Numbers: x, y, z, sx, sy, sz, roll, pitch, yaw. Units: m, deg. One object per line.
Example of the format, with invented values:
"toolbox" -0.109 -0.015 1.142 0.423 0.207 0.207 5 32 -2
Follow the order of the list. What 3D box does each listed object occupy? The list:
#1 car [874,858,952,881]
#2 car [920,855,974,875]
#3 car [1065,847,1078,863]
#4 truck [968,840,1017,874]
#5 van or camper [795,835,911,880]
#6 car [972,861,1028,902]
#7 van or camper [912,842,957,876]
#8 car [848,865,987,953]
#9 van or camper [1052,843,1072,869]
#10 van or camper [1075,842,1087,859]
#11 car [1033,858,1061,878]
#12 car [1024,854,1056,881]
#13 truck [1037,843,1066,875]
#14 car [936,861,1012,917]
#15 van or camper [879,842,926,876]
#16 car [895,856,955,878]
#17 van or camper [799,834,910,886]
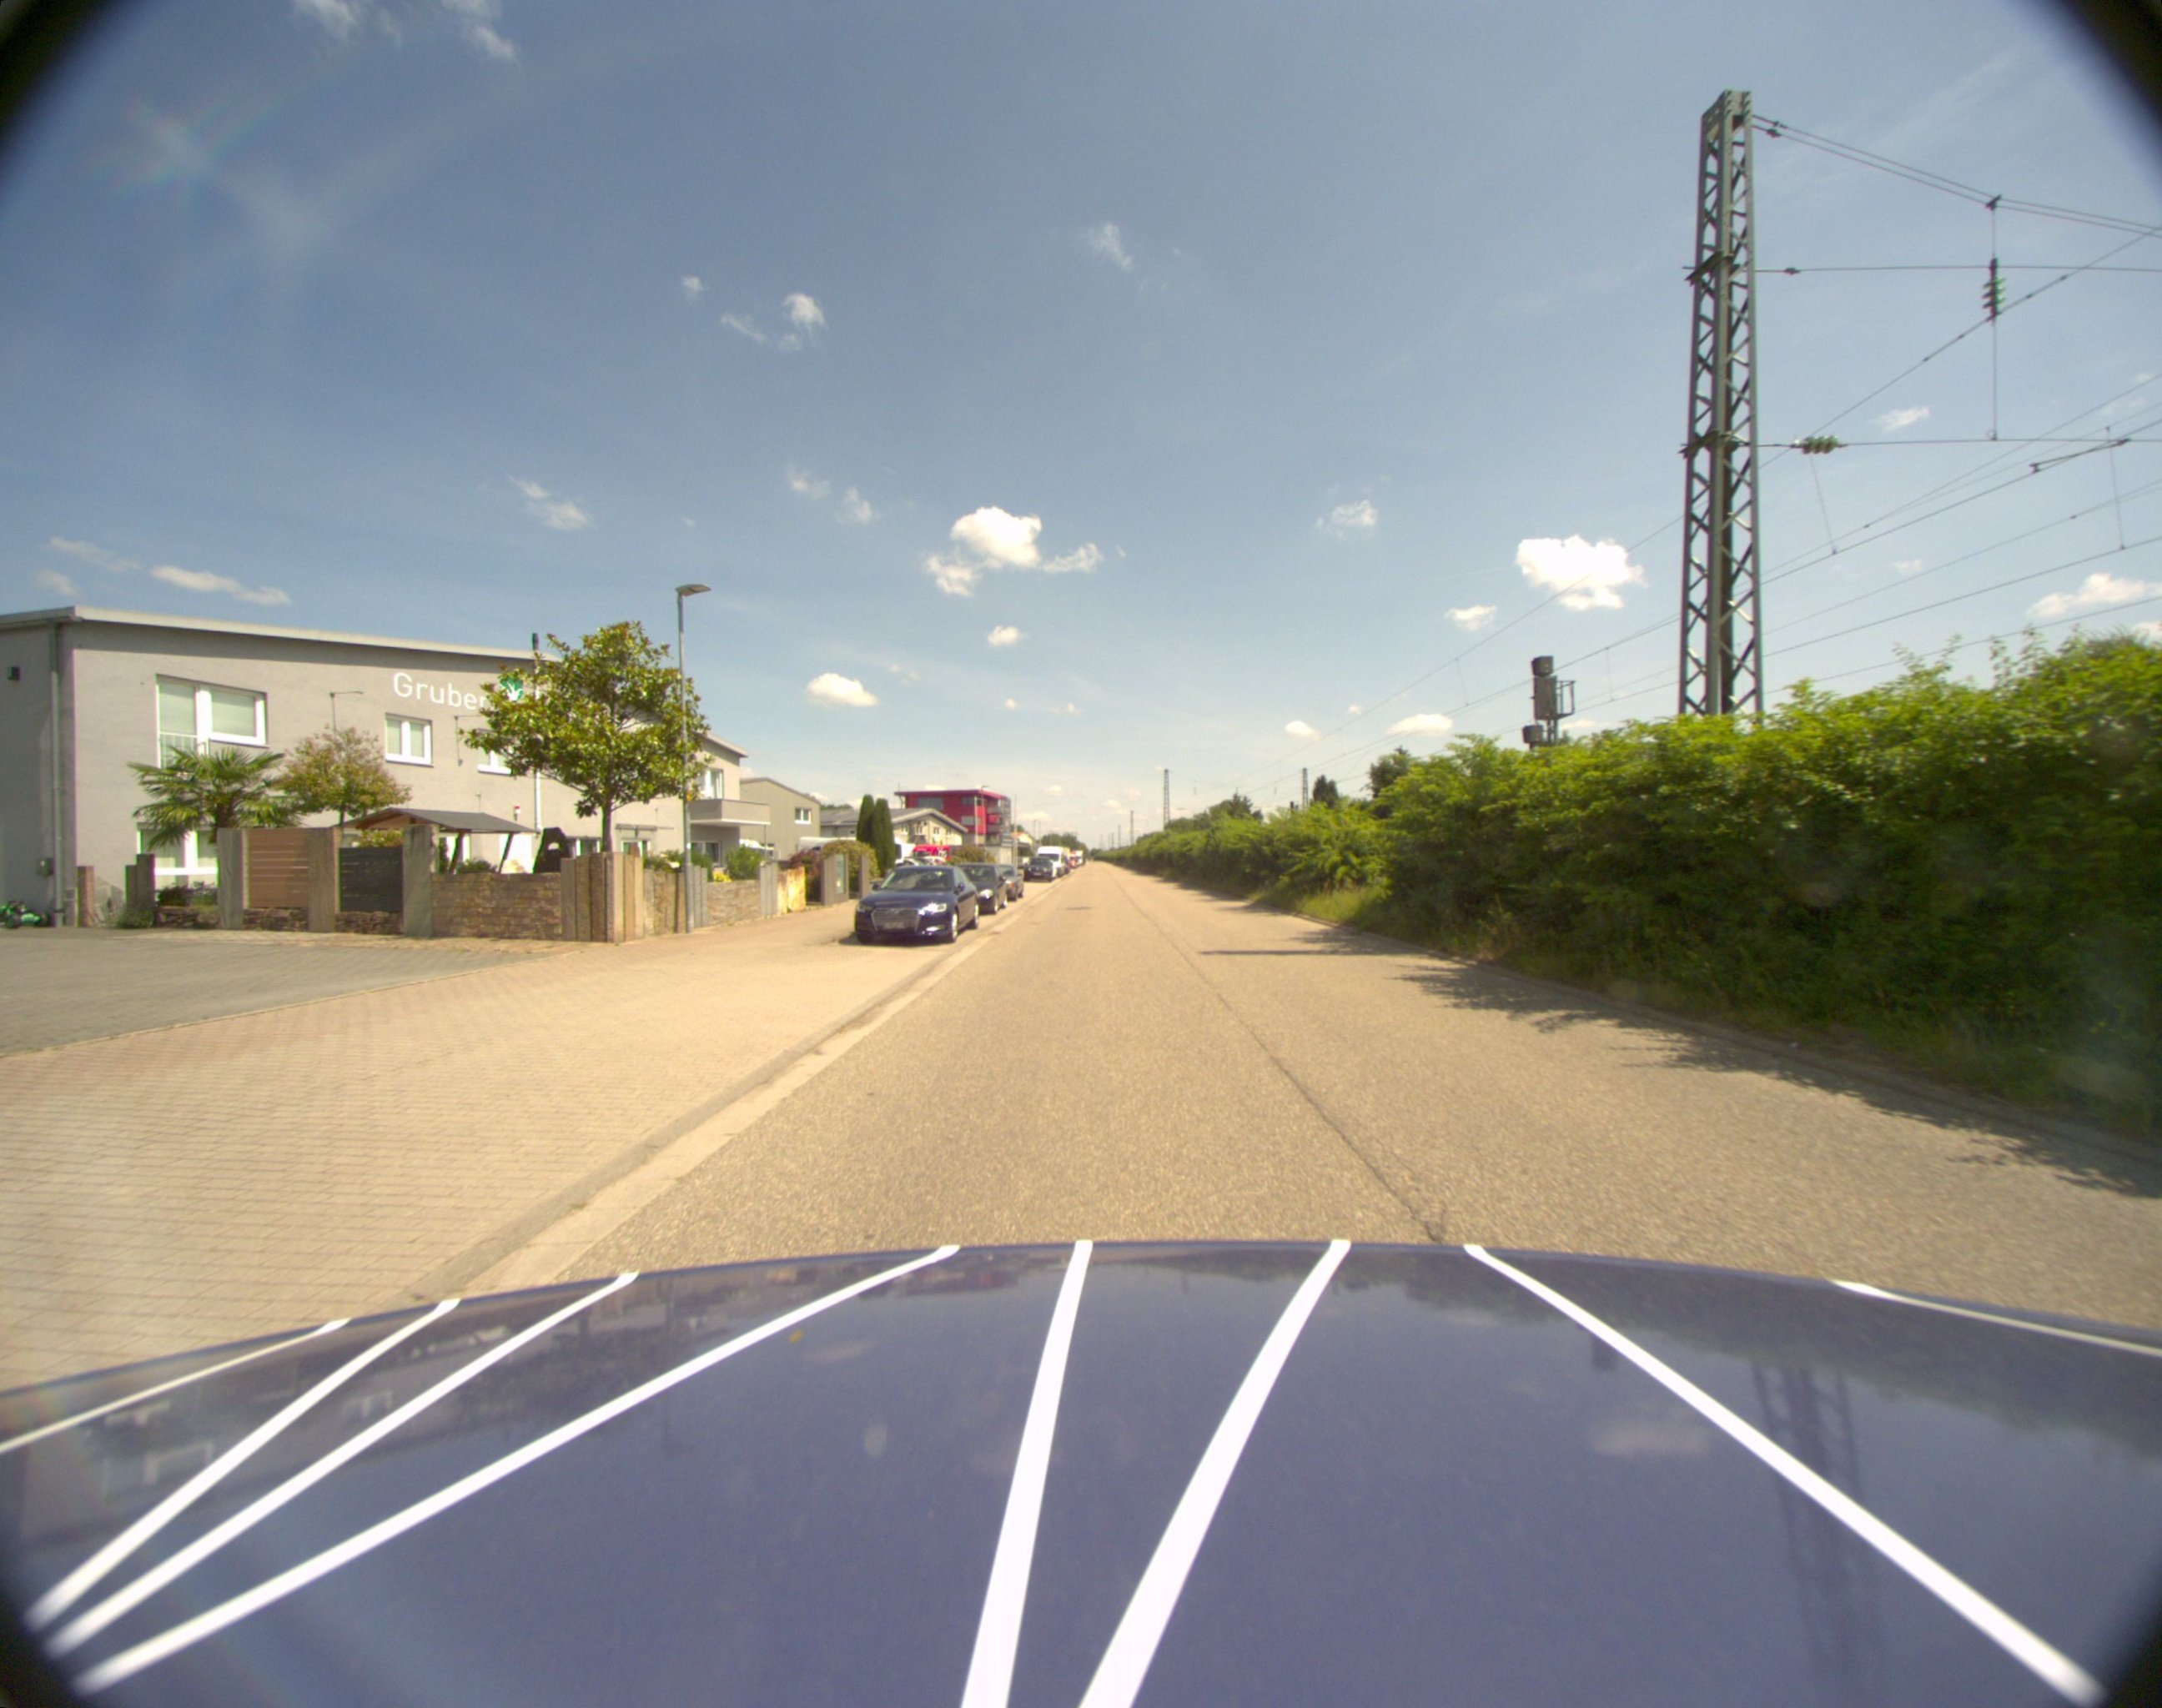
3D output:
"car" -10.814 1.001 49.107 4.605 1.478 1.714 0 0 2
"car" -10.040 0.823 57.014 3.702 1.478 1.714 0 0 2
"car" -1.347 0.154 111.829 1.742 2.258 4.020 -1 1 1
"truck" -7.119 0.247 61.928 2.381 2.673 5.788 0 0 10
"van or camper" -12.601 0.187 42.098 5.832 2.423 2.136 0 0 12
"car" -3.020 1.002 29.106 1.618 1.415 4.195 1 0 1
"van or camper" -12.045 0.412 62.918 2.037 2.751 4.901 0 0 10
"car" -3.144 0.989 15.611 1.766 1.464 4.718 1 0 1
"van or camper" -2.079 0.181 85.335 1.998 2.854 4.395 -1 1 1
"van or camper" 0.078 -0.662 161.947 2.333 3.497 4.770 -2 1 1
"car" -2.453 1.023 56.230 1.805 1.410 3.757 1 -1 1
"car" -2.653 0.856 50.364 1.805 1.692 4.000 1 0 1
"truck" -2.343 0.385 62.612 1.998 2.550 5.290 0 0 2
"car" -3.078 0.962 22.549 1.618 1.464 3.876 1 0 1
"van or camper" -15.039 0.383 64.303 2.095 2.751 4.901 0 0 10
"car" -10.628 0.867 51.881 3.702 1.478 1.714 0 0 2
"van or camper" -11.535 0.302 38.713 5.098 2.519 2.002 0 0 15
